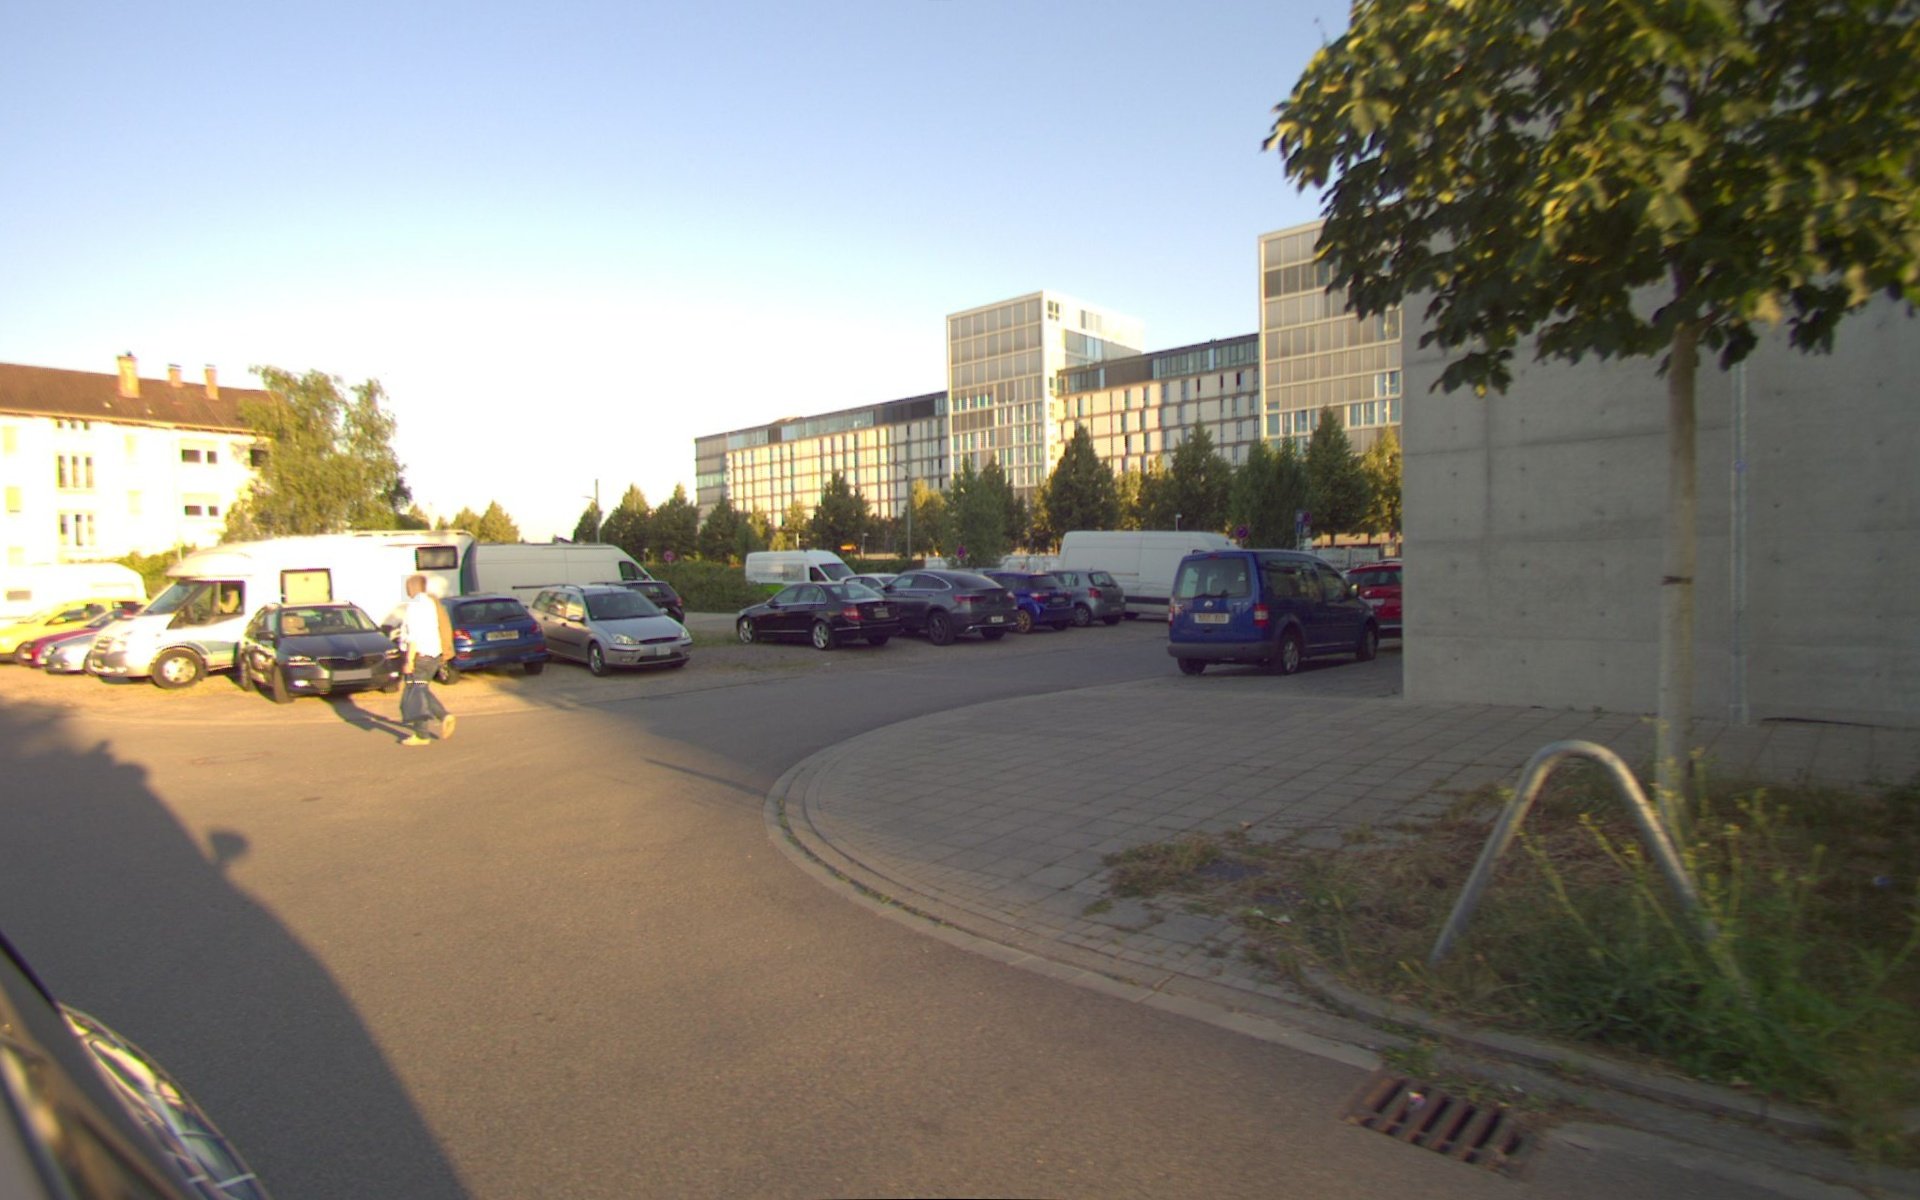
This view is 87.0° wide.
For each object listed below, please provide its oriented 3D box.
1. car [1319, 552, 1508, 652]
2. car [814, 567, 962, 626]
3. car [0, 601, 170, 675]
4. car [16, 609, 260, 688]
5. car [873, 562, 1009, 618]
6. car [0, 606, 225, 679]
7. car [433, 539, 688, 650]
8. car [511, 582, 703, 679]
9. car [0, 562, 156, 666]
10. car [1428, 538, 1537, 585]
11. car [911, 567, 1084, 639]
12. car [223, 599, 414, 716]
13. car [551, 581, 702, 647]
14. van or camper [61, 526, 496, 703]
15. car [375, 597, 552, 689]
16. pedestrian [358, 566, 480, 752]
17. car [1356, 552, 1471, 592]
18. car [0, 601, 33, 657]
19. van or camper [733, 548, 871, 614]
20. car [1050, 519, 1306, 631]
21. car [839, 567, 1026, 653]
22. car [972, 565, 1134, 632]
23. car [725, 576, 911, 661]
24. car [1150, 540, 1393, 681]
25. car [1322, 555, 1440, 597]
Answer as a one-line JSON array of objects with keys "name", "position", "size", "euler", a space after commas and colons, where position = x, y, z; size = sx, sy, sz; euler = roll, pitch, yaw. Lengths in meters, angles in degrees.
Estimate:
[{"name": "car", "position": [8.572, 0.001, 18.984], "size": [3.995, 1.642, 1.779], "euler": [-3, -1, -44]}, {"name": "car", "position": [-2.138, -0.089, 29.128], "size": [4.405, 1.510, 1.645], "euler": [-1, 3, 43]}, {"name": "car", "position": [-22.259, 0.902, 25.260], "size": [1.699, 1.530, 3.603], "euler": [-1, 2, 30]}, {"name": "car", "position": [-17.832, 0.990, 22.133], "size": [1.687, 1.338, 3.779], "euler": [-1, 2, 32]}, {"name": "car", "position": [-0.660, -0.316, 32.265], "size": [4.405, 1.633, 1.645], "euler": [0, 3, 43]}, {"name": "car", "position": [-19.924, 0.934, 23.940], "size": [1.699, 1.377, 3.700], "euler": [-1, 2, 30]}, {"name": "car", "position": [-10.793, -0.266, 27.892], "size": [2.221, 2.693, 6.181], "euler": [-1, 3, 39]}, {"name": "car", "position": [-6.718, 0.472, 19.016], "size": [4.205, 1.490, 1.644], "euler": [2, 5, 44]}, {"name": "car", "position": [-25.284, 0.377, 26.712], "size": [2.406, 2.552, 5.840], "euler": [0, 4, 34]}, {"name": "car", "position": [24.030, -1.820, 46.635], "size": [4.129, 2.040, 1.645], "euler": [3, 5, 42]}, {"name": "car", "position": [0.885, 0.008, 25.856], "size": [4.406, 1.510, 1.645], "euler": [4, 6, 42]}, {"name": "car", "position": [-10.434, 0.798, 16.326], "size": [1.667, 1.530, 4.364], "euler": [-4, 3, -44]}, {"name": "car", "position": [-8.606, 0.321, 26.304], "size": [1.513, 1.458, 3.405], "euler": [-1, 3, 39]}, {"name": "van or camper", "position": [-13.099, 0.098, 20.071], "size": [2.405, 2.919, 6.678], "euler": [-1, 2, 37]}, {"name": "car", "position": [-8.955, 0.692, 18.130], "size": [3.723, 1.433, 1.644], "euler": [0, 2, 44]}, {"name": "pedestrian", "position": [-5.774, 0.591, 10.808], "size": [0.856, 1.864, 0.889], "euler": [-2, 0, 43]}, {"name": "car", "position": [19.253, -1.236, 43.036], "size": [4.129, 1.510, 1.645], "euler": [4, 6, 42]}, {"name": "car", "position": [-29.666, 0.971, 29.061], "size": [1.741, 1.602, 4.098], "euler": [0, 4, 30]}, {"name": "van or camper", "position": [-7.098, -0.825, 44.955], "size": [6.632, 2.710, 1.995], "euler": [0, 3, 39]}, {"name": "car", "position": [5.985, -0.809, 28.770], "size": [6.986, 2.822, 2.182], "euler": [3, 4, 44]}, {"name": "car", "position": [-0.706, 0.152, 23.320], "size": [4.406, 1.633, 1.645], "euler": [4, 6, 42]}, {"name": "car", "position": [2.468, -0.100, 27.574], "size": [4.301, 1.510, 1.645], "euler": [4, 6, 42]}, {"name": "car", "position": [-3.212, 0.315, 22.316], "size": [4.406, 1.490, 1.645], "euler": [4, 6, 42]}, {"name": "car", "position": [4.836, 0.105, 15.380], "size": [1.848, 1.845, 4.040], "euler": [-3, 0, 44]}, {"name": "car", "position": [17.116, -1.025, 41.285], "size": [4.129, 1.510, 1.645], "euler": [4, 6, 42]}]
